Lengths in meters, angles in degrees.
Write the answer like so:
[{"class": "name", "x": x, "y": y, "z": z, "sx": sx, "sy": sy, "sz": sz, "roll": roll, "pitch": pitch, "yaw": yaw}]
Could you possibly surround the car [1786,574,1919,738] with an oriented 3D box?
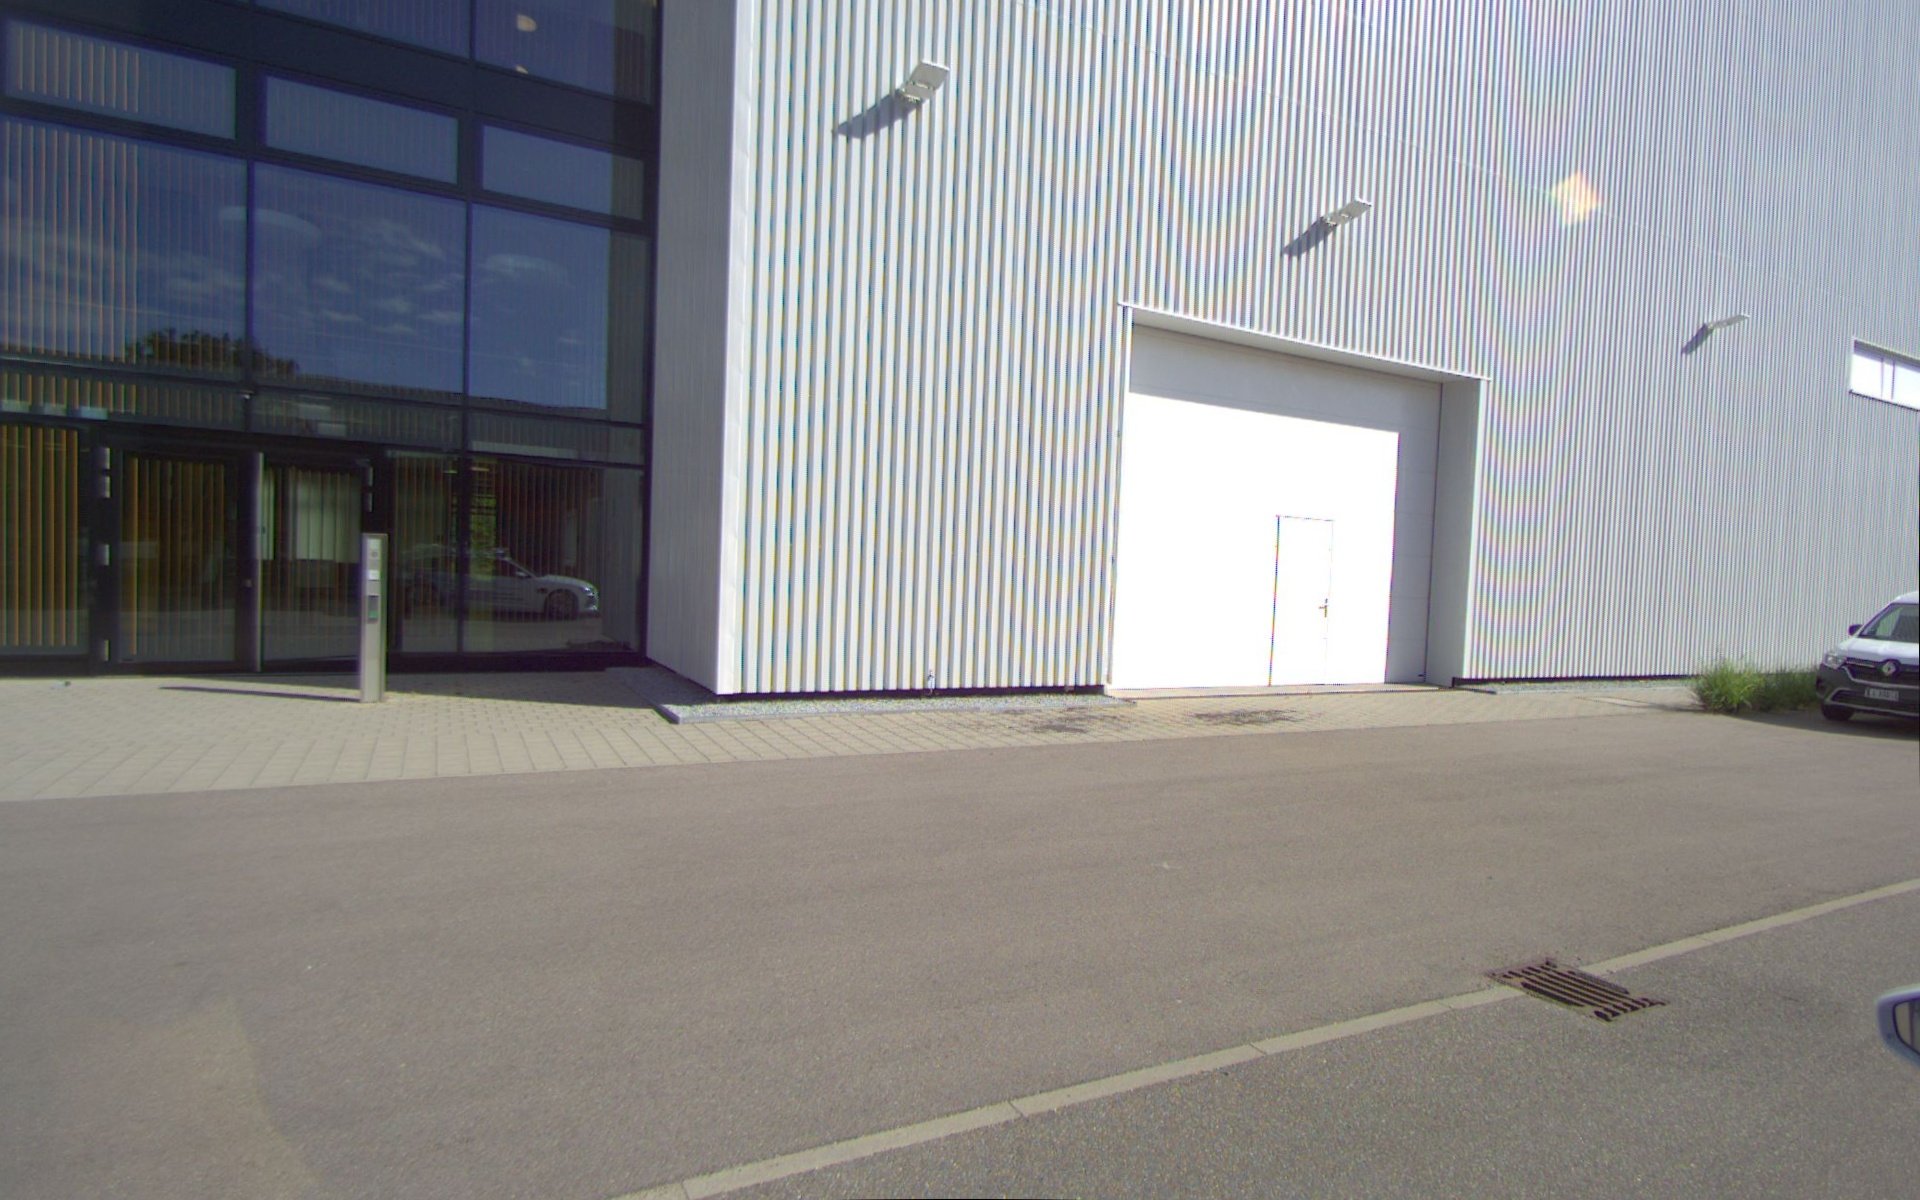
[{"class": "car", "x": 13.077, "y": 0.715, "z": 13.189, "sx": 4.305, "sy": 1.870, "sz": 1.882, "roll": 1, "pitch": 4, "yaw": -29}]
